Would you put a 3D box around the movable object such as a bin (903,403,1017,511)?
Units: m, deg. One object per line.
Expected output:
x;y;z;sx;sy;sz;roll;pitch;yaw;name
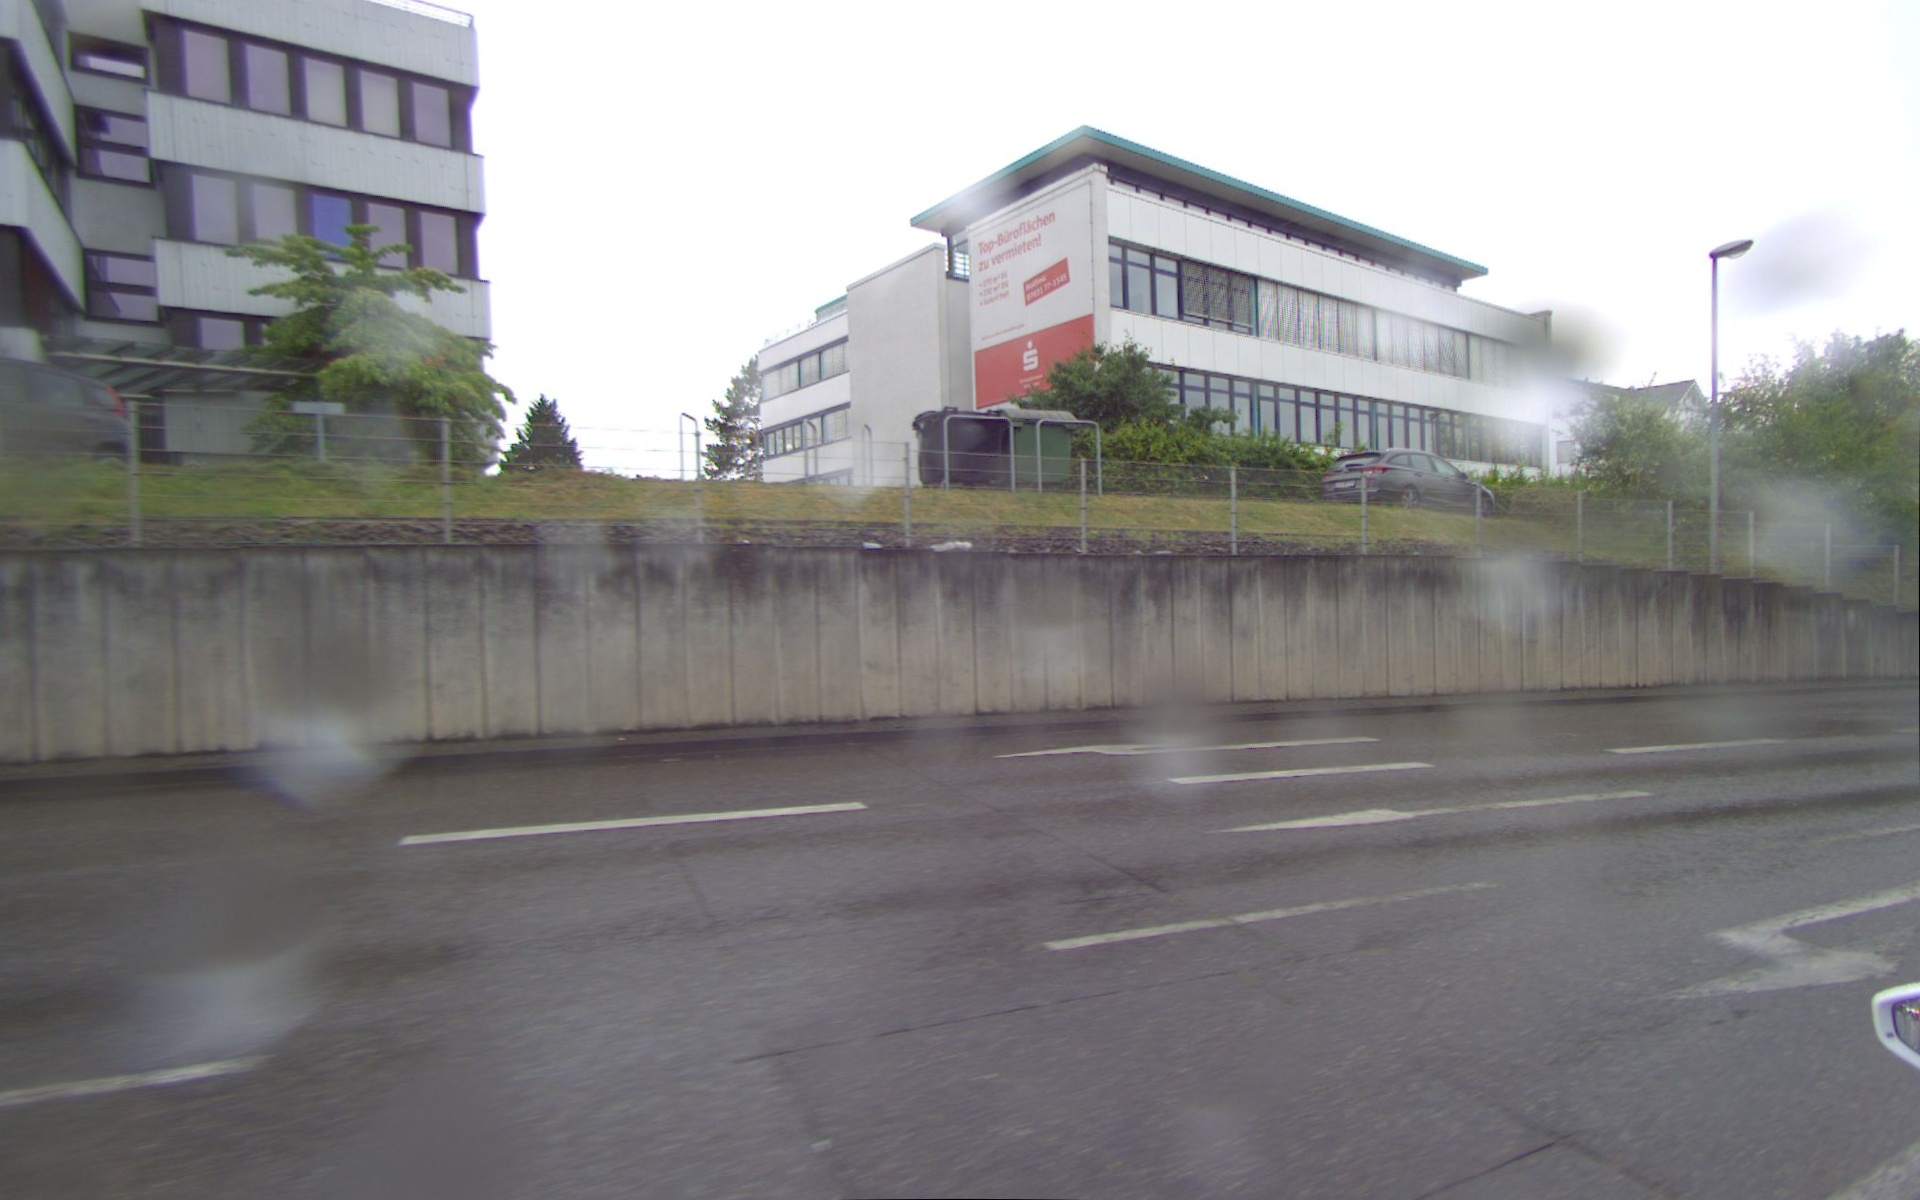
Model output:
-0.003;-2.192;15.762;1.429;1.456;1.078;1;1;-30;movable object such as a bin

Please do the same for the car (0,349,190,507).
-11.910;-2.104;12.081;1.864;1.607;4.002;1;1;9;car

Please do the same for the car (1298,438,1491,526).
9.366;-2.457;21.599;3.953;1.461;1.818;1;1;-30;car

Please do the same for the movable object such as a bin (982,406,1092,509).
1.256;-2.304;16.500;1.429;1.456;1.078;1;1;-30;movable object such as a bin
